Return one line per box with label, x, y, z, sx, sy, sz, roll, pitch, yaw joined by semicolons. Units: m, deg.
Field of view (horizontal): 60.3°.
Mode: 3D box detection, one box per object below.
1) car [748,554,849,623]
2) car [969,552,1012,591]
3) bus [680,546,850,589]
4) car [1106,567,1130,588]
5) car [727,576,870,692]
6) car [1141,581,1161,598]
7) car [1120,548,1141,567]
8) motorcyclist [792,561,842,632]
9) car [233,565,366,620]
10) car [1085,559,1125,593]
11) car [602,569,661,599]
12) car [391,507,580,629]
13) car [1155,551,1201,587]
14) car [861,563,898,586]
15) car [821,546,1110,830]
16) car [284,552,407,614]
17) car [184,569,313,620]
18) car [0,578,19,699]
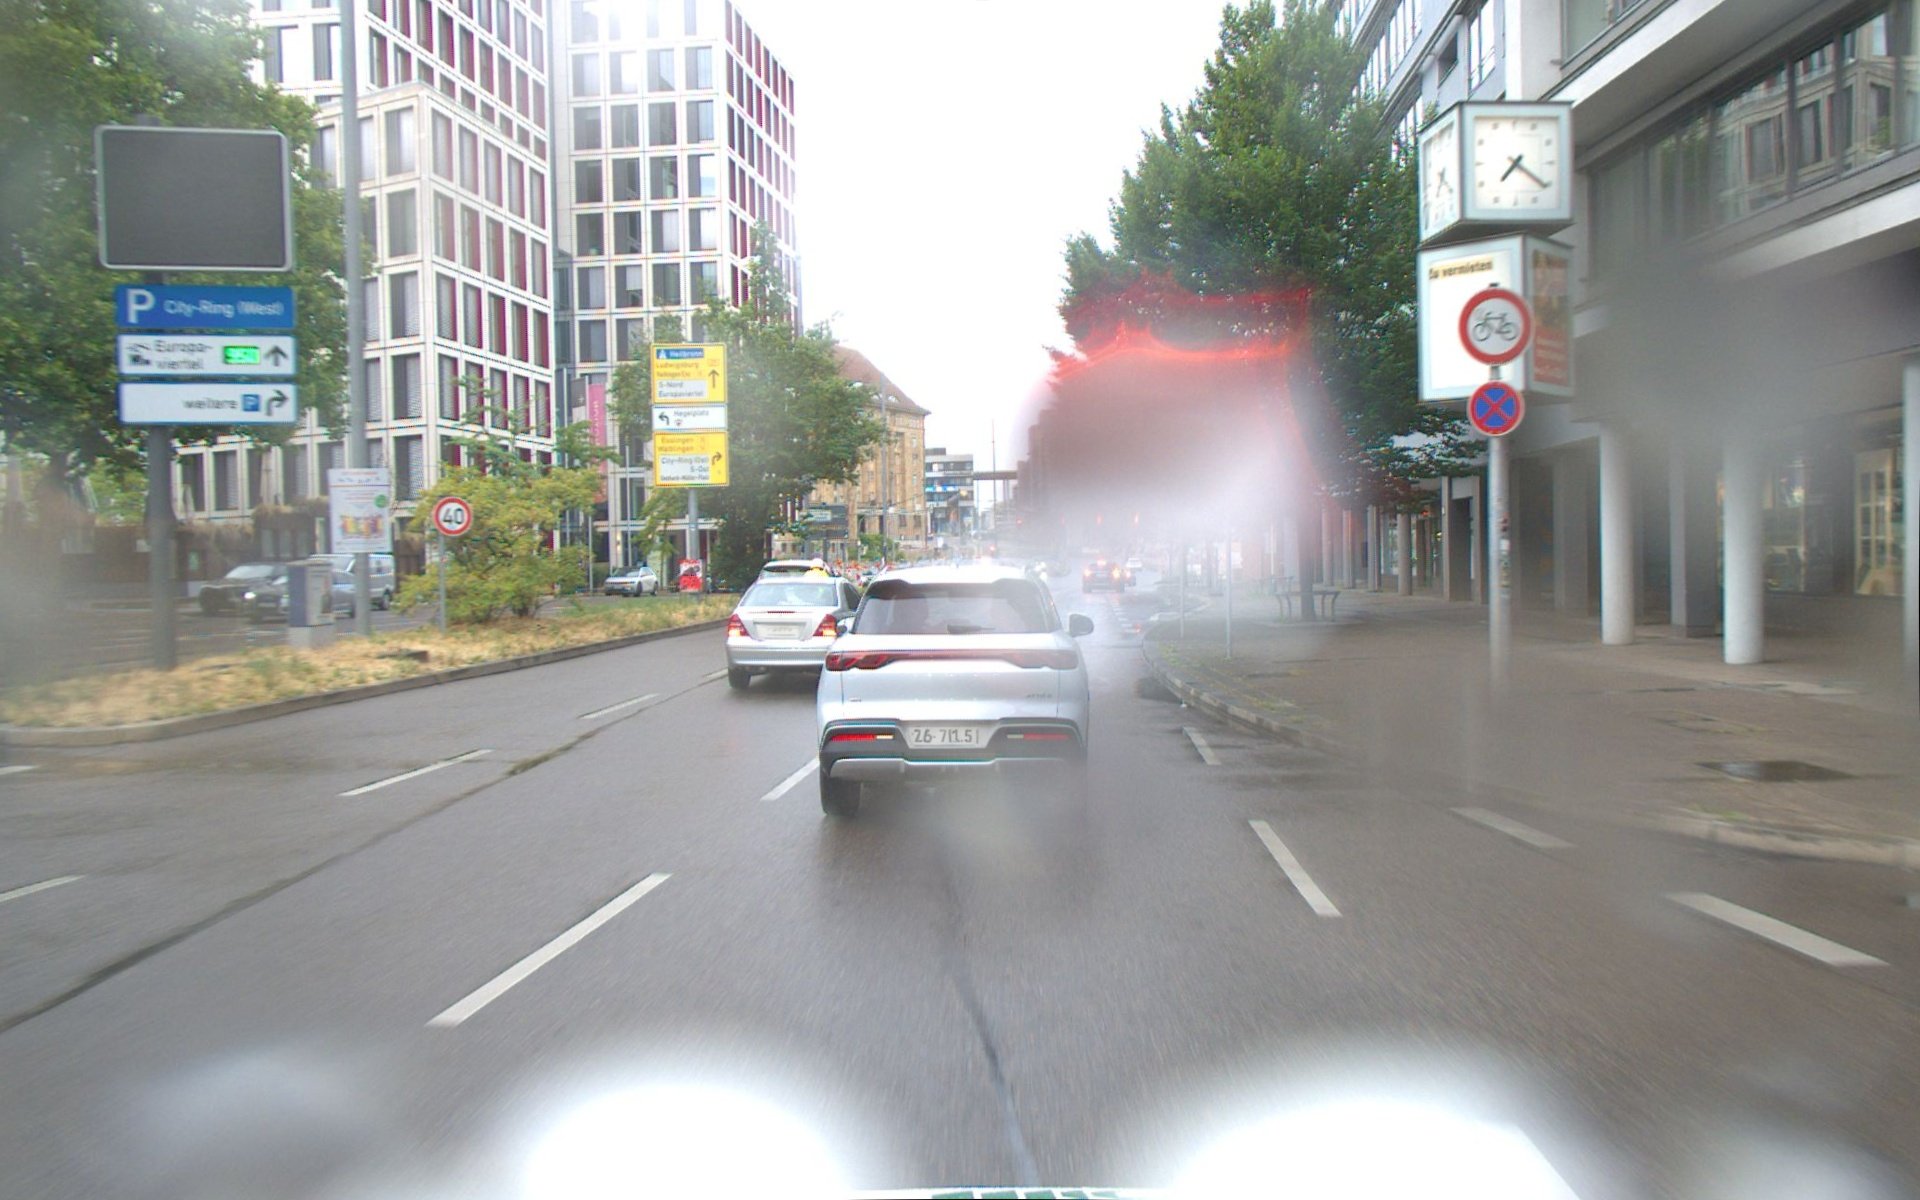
car;-3.733;-0.228;38.794;1.671;1.512;4.002;0;-1;4
car;1.297;-1.174;69.466;1.537;1.512;4.002;0;-1;5
bus;-19.781;-3.234;168.356;16.604;4.134;4.440;0;-1;5
car;12.427;-1.749;130.083;1.657;1.512;4.003;0;-1;9
car;-2.116;0.444;22.588;1.538;1.432;4.109;0;-1;0
car;23.648;-1.336;204.884;1.953;2.049;4.000;-1;1;-1
car;20.087;-4.991;194.981;1.953;2.049;3.999;0;-1;-1
motorcyclist;-2.872;-0.070;33.376;0.753;1.404;1.119;0;-1;9
car;-19.298;-0.239;48.534;1.951;1.514;4.003;-1;1;6
car;6.850;-1.108;77.852;1.657;1.512;4.003;0;-1;8
car;-17.534;-0.887;88.556;1.951;1.514;4.003;-1;1;6
car;-8.553;-0.508;30.296;1.952;2.049;4.849;0;-1;2
car;11.266;-1.585;85.751;1.813;1.780;3.999;0;-1;-1
car;-5.718;-1.826;117.965;1.951;1.512;4.003;-1;1;7
car;0.089;0.532;12.017;1.739;1.708;4.001;0;0;2
car;-21.328;-0.610;57.641;1.951;2.046;4.931;-1;1;6
car;-22.174;-0.208;51.725;1.951;1.514;4.003;-1;1;6
car;-12.464;0.510;18.412;1.597;1.462;3.909;-1;1;2
